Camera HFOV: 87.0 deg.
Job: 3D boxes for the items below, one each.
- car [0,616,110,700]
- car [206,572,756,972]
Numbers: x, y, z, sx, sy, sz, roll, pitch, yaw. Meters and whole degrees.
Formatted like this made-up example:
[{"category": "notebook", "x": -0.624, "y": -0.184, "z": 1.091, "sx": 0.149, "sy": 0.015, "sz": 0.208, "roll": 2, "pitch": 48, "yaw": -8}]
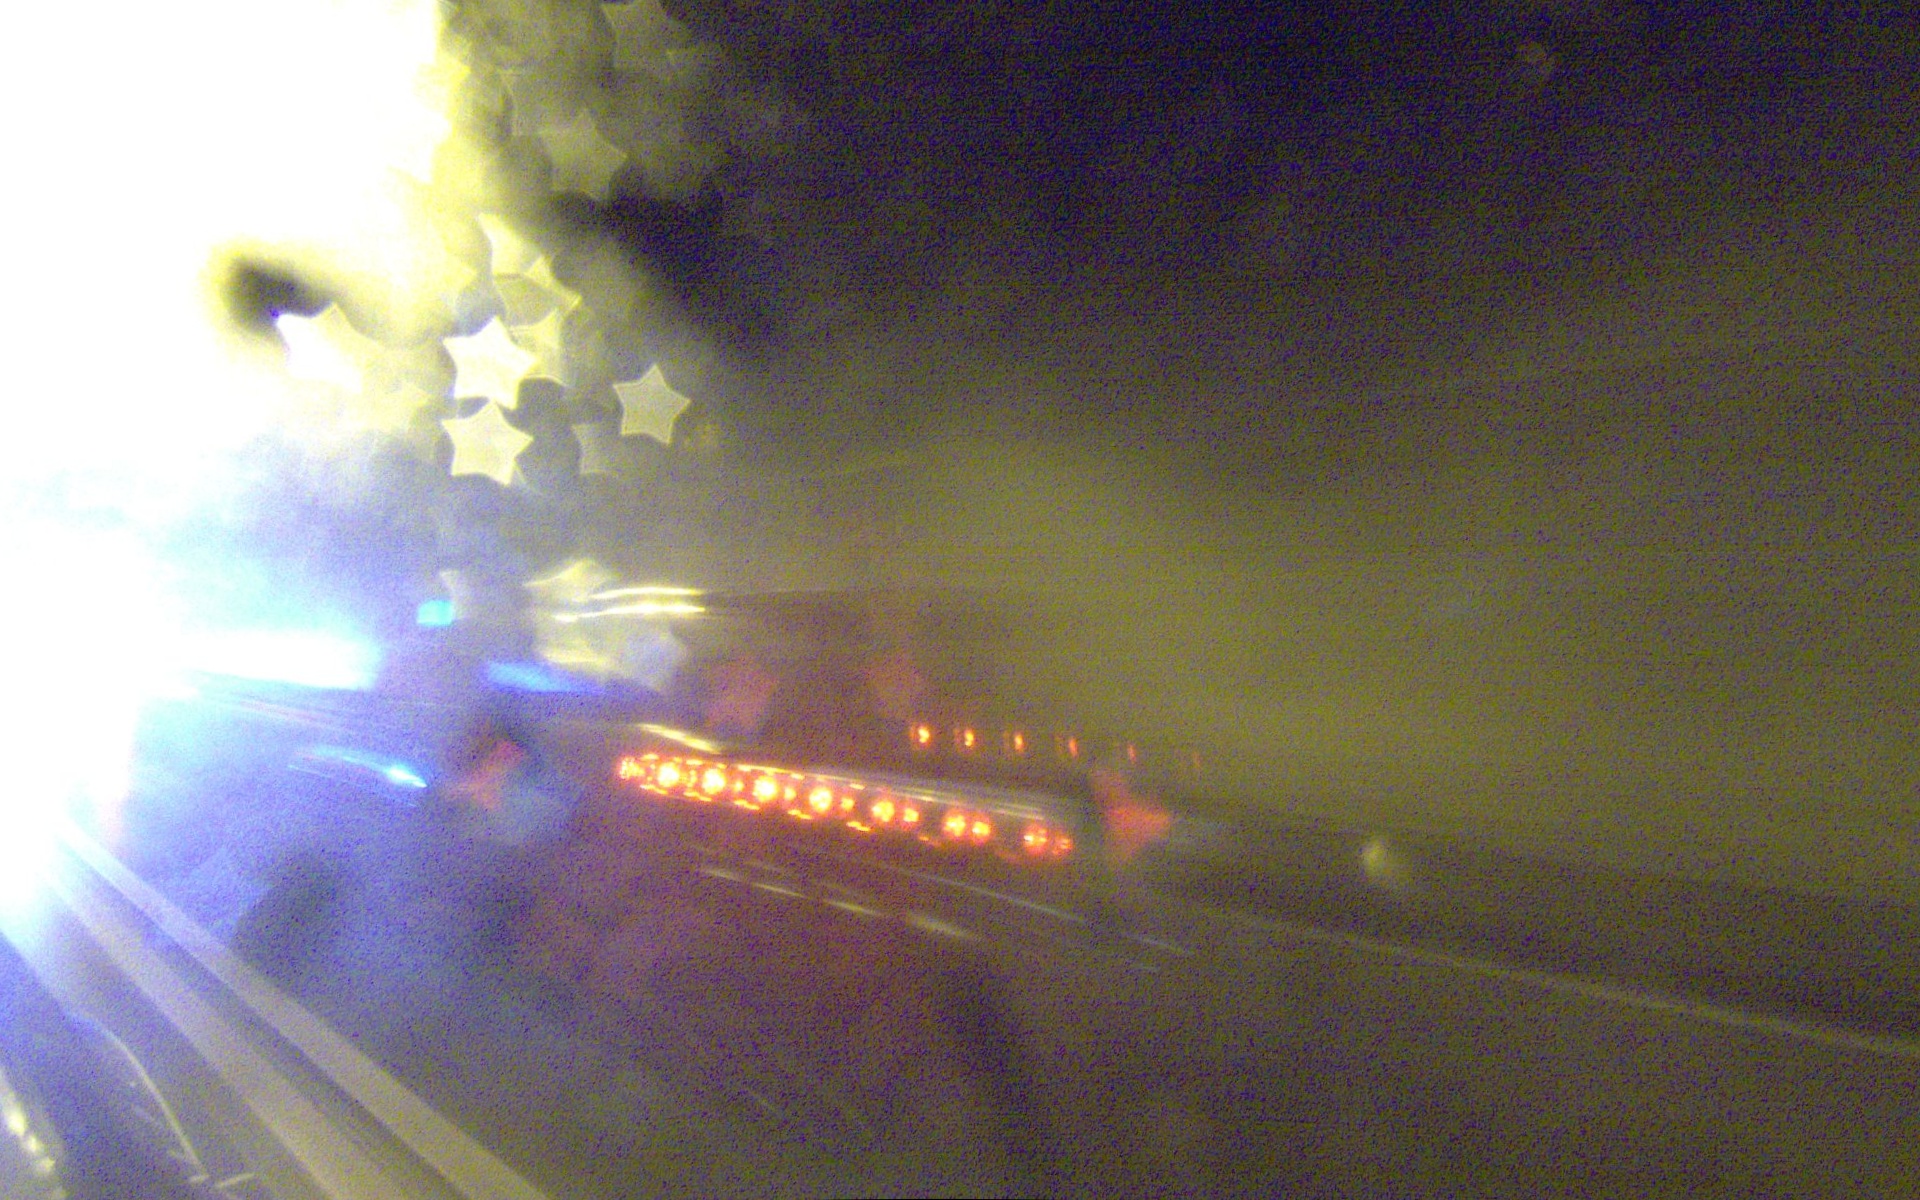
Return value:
[{"category": "car", "x": -18.672, "y": 1.114, "z": 20.708, "sx": 4.139, "sy": 1.529, "sz": 1.602, "roll": -1, "pitch": -1, "yaw": 45}, {"category": "car", "x": -2.779, "y": 0.692, "z": 5.624, "sx": 3.174, "sy": 1.549, "sz": 1.566, "roll": -1, "pitch": 1, "yaw": 41}]
